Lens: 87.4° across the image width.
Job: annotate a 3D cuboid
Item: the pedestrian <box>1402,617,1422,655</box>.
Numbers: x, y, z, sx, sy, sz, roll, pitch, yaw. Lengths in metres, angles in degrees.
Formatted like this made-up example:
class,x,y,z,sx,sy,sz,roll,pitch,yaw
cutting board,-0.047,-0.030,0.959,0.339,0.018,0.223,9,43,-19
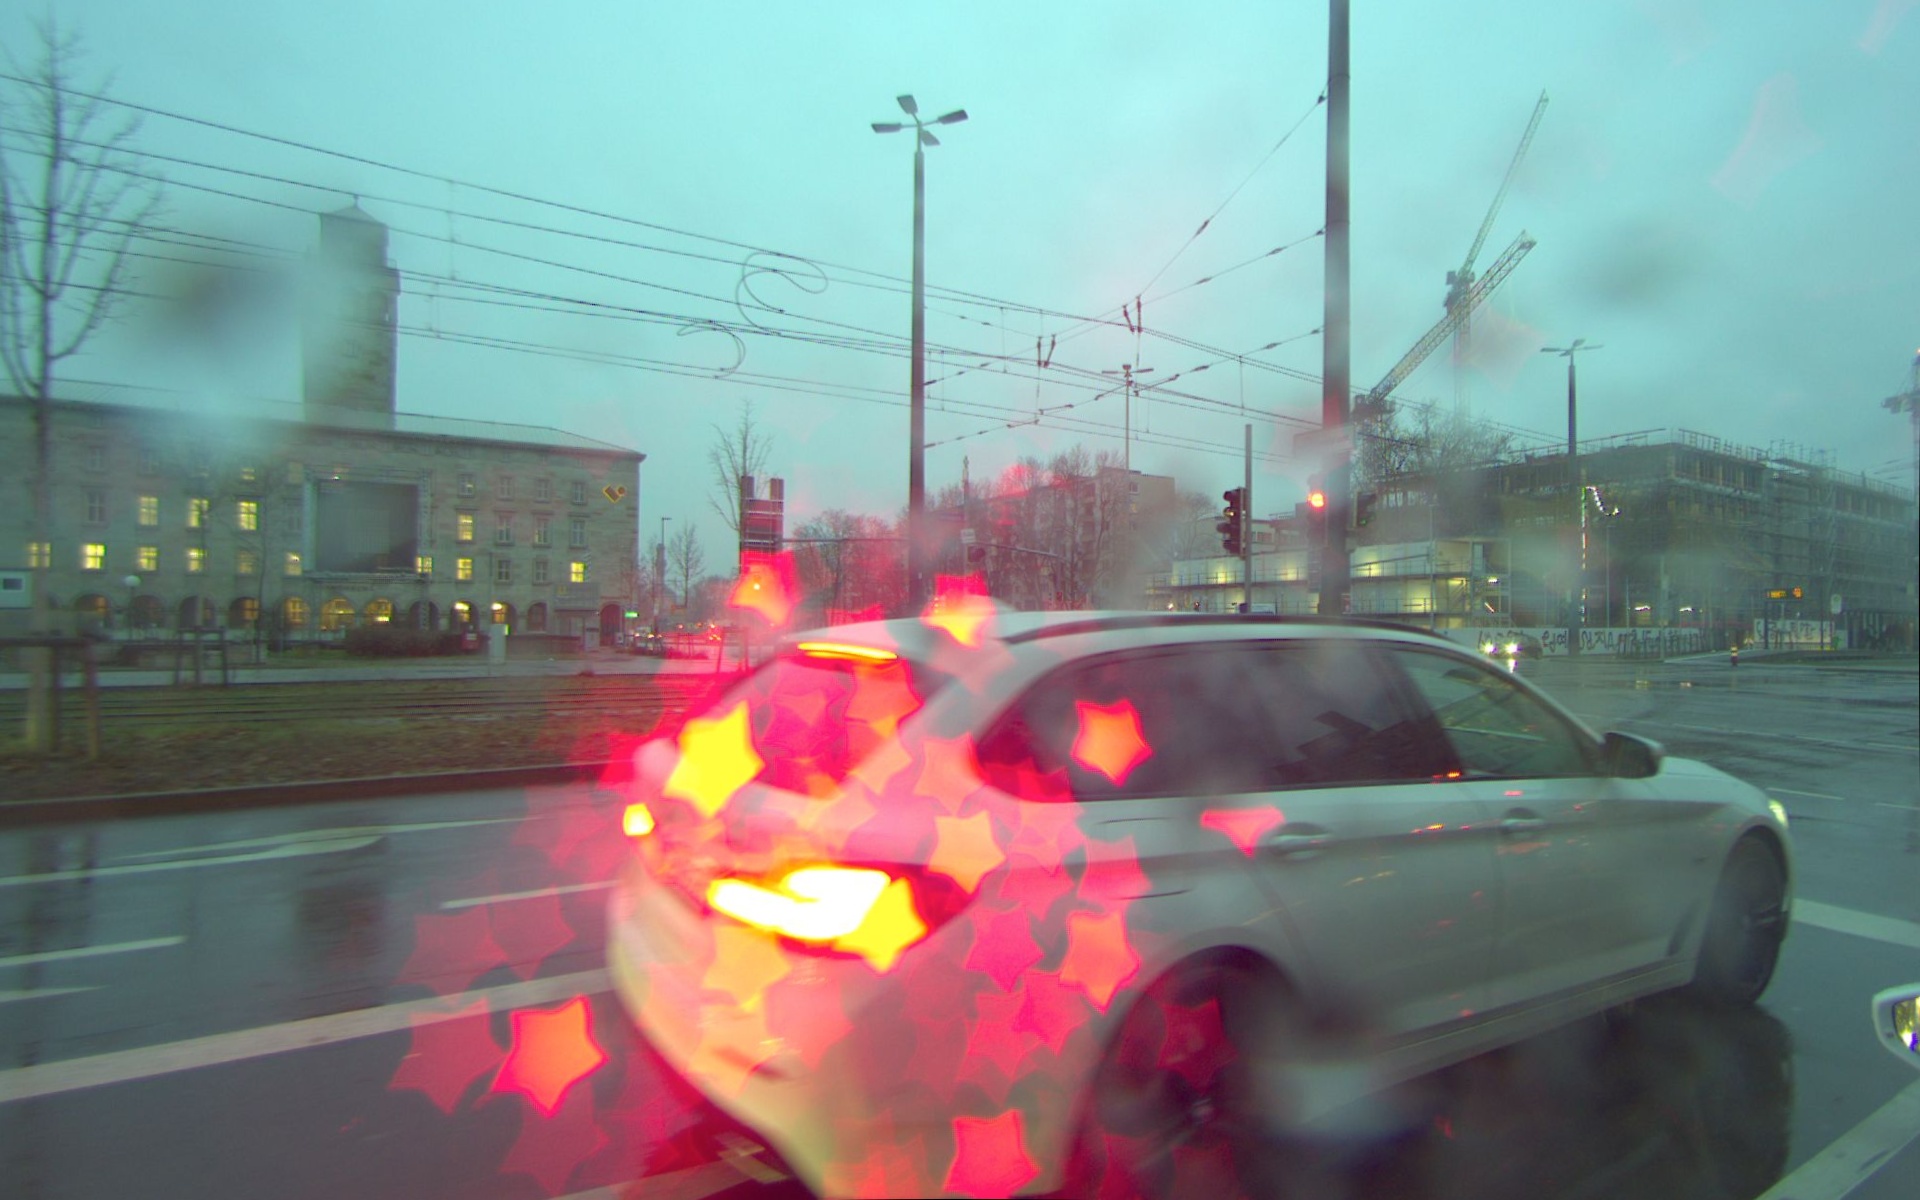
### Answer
class,x,y,z,sx,sy,sz,roll,pitch,yaw
pedestrian,24.584,1.940,54.641,0.741,2.040,0.786,3,-3,-40

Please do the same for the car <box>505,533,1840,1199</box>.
class,x,y,z,sx,sy,sz,roll,pitch,yaw
car,1.094,0.739,3.712,4.868,1.540,1.900,2,-2,-32

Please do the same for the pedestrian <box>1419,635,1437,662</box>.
class,x,y,z,sx,sy,sz,roll,pitch,yaw
pedestrian,27.312,2.815,58.625,0.787,1.549,0.641,2,-2,-32

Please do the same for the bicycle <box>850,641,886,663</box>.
class,x,y,z,sx,sy,sz,roll,pitch,yaw
bicycle,-4.505,2.524,49.016,0.612,1.046,2.356,2,-2,-36

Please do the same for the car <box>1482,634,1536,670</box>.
class,x,y,z,sx,sy,sz,roll,pitch,yaw
car,32.749,3.067,59.872,3.972,2.040,1.739,2,-2,-43

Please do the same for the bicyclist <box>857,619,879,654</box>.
class,x,y,z,sx,sy,sz,roll,pitch,yaw
bicyclist,-4.488,1.774,49.050,0.612,1.719,1.026,2,-2,-36

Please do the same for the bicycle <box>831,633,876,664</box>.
class,x,y,z,sx,sy,sz,roll,pitch,yaw
bicycle,-5.017,2.255,47.060,0.714,1.380,2.809,2,-3,-38

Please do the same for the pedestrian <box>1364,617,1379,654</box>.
class,x,y,z,sx,sy,sz,roll,pitch,yaw
pedestrian,22.666,1.962,55.342,0.635,2.039,0.503,5,-5,-40

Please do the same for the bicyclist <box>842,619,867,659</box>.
class,x,y,z,sx,sy,sz,roll,pitch,yaw
bicyclist,-4.927,1.831,46.953,0.714,1.863,0.986,2,-3,-39

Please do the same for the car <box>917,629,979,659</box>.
class,x,y,z,sx,sy,sz,roll,pitch,yaw
car,-0.754,2.587,60.047,1.978,1.706,3.965,1,-2,-32
